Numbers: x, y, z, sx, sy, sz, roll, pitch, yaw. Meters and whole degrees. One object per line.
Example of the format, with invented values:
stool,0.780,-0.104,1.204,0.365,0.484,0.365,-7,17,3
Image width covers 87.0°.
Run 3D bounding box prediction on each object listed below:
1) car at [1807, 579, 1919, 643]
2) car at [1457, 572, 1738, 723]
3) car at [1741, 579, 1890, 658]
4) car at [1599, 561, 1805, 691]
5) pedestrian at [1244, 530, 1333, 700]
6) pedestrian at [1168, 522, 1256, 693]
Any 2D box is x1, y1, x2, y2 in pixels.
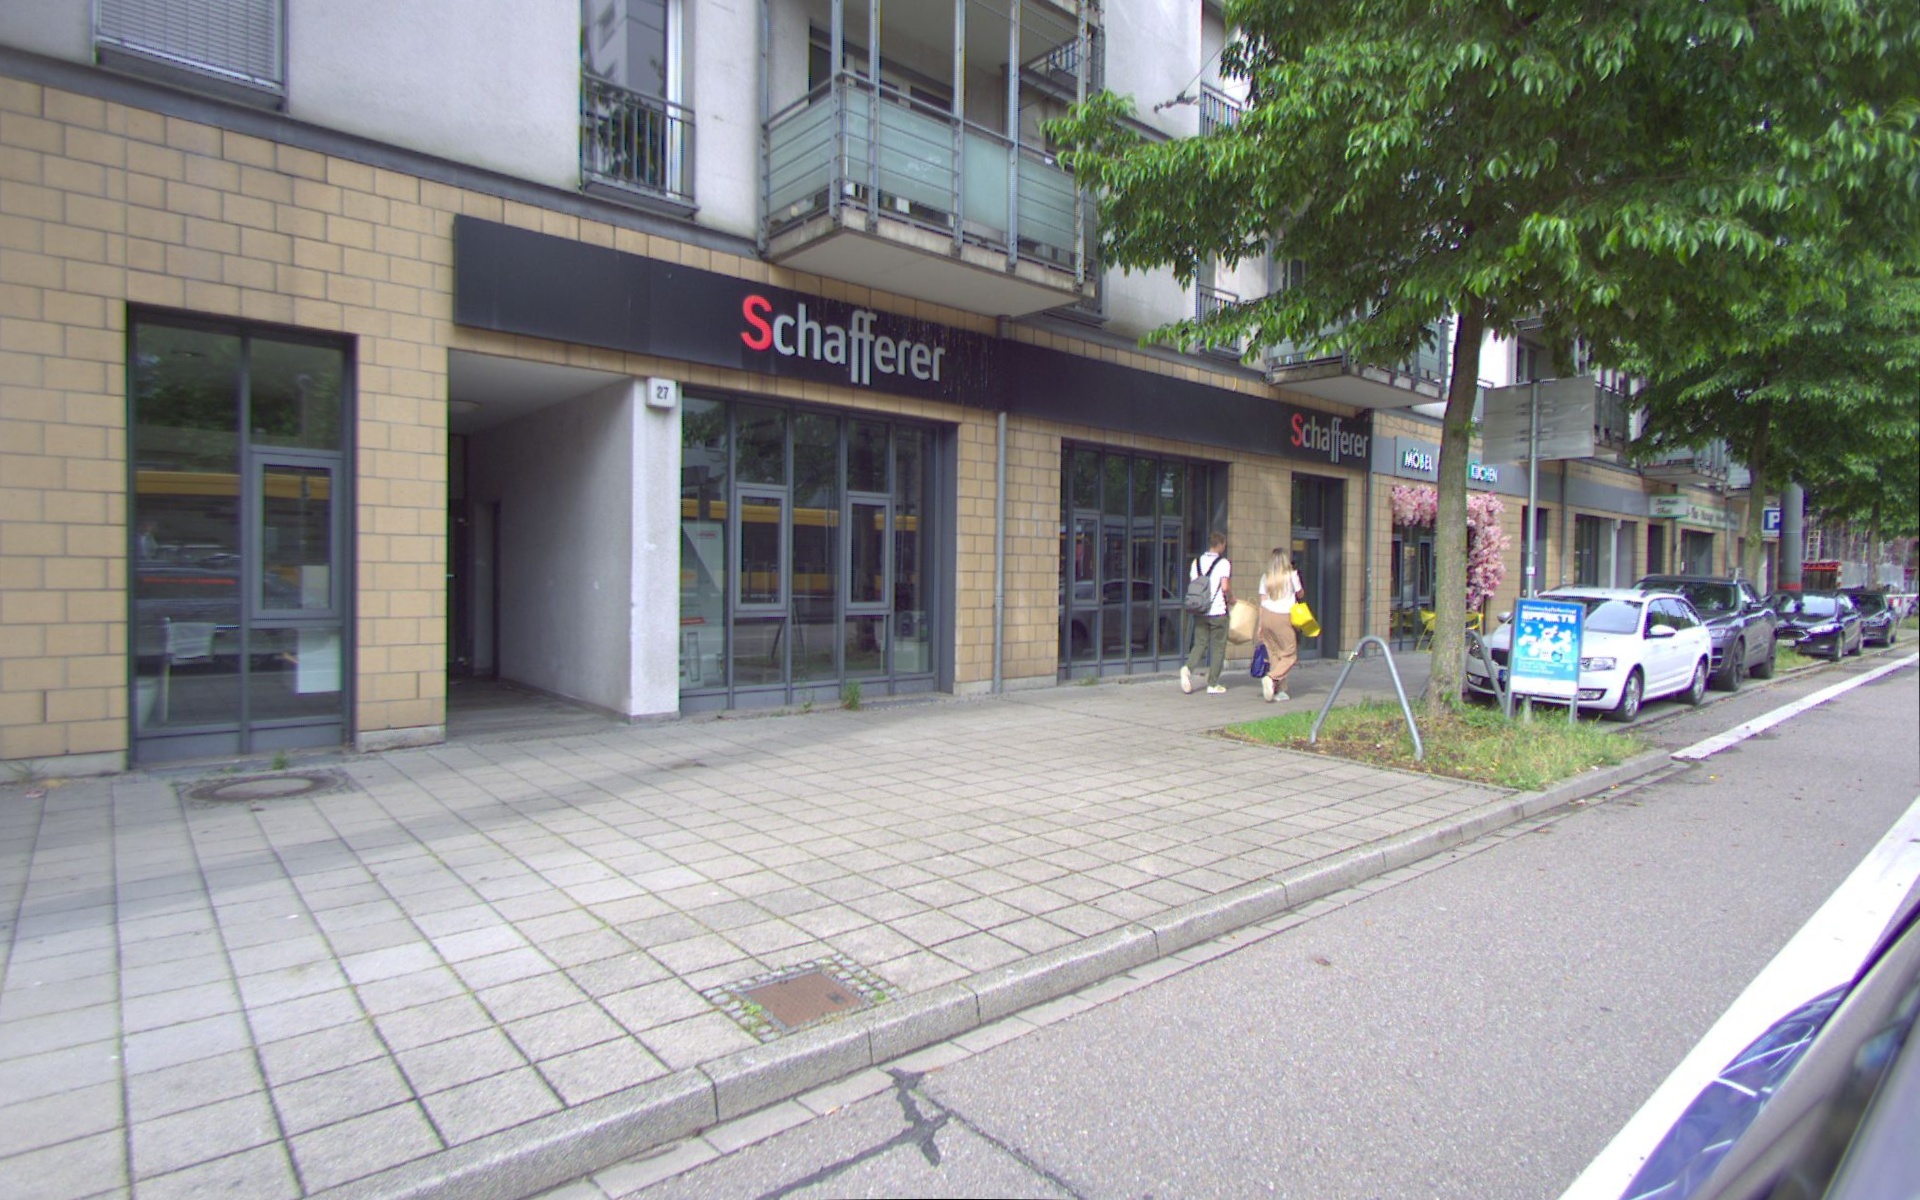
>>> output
car,24.339,0.220,27.221,4.315,1.472,1.800,-1,5,-43
car,8.126,0.457,12.742,4.312,1.517,1.681,-1,4,-40
car,18.718,0.324,22.082,4.329,1.459,1.681,-1,4,-40
car,12.009,0.302,16.257,4.632,1.737,1.715,-1,4,-42
pedestrian,3.678,0.151,11.332,0.724,1.828,0.617,0,2,-39
pedestrian,2.950,0.069,11.856,0.724,1.914,0.677,0,2,-39
